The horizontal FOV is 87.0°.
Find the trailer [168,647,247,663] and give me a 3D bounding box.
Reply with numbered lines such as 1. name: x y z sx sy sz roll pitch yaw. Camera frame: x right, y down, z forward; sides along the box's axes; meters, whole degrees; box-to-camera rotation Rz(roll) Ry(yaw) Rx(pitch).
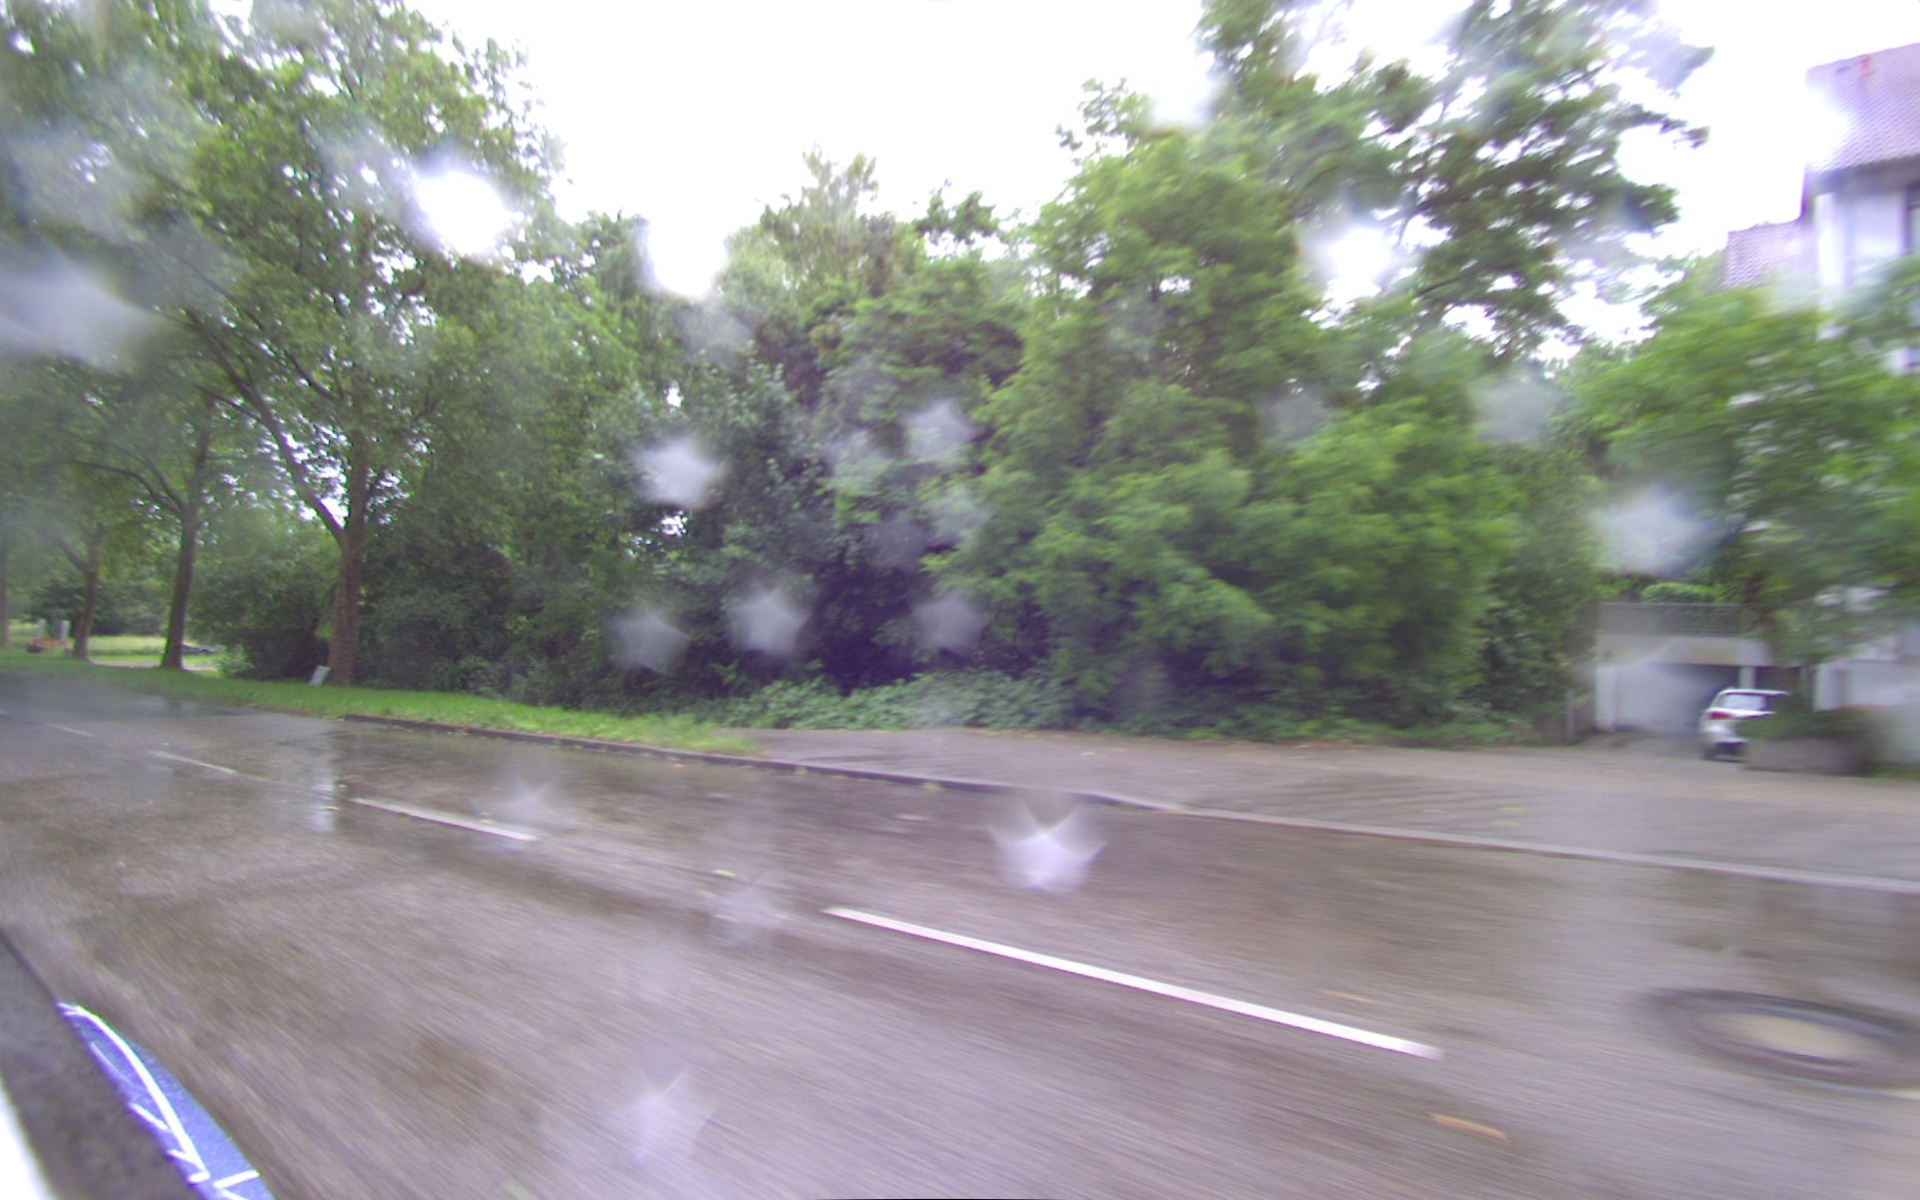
1. trailer: -56.173 4.100 75.627 2.380 1.040 4.273 0 -2 39

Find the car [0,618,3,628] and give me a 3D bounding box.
1. car: -166.227 3.942 173.896 1.868 1.695 4.010 3 -3 -35

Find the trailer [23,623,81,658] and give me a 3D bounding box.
1. trailer: -74.195 3.276 82.638 6.652 2.684 2.767 0 -3 43

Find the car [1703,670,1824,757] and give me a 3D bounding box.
1. car: 16.121 2.310 20.457 1.721 1.497 3.518 0 -6 36
